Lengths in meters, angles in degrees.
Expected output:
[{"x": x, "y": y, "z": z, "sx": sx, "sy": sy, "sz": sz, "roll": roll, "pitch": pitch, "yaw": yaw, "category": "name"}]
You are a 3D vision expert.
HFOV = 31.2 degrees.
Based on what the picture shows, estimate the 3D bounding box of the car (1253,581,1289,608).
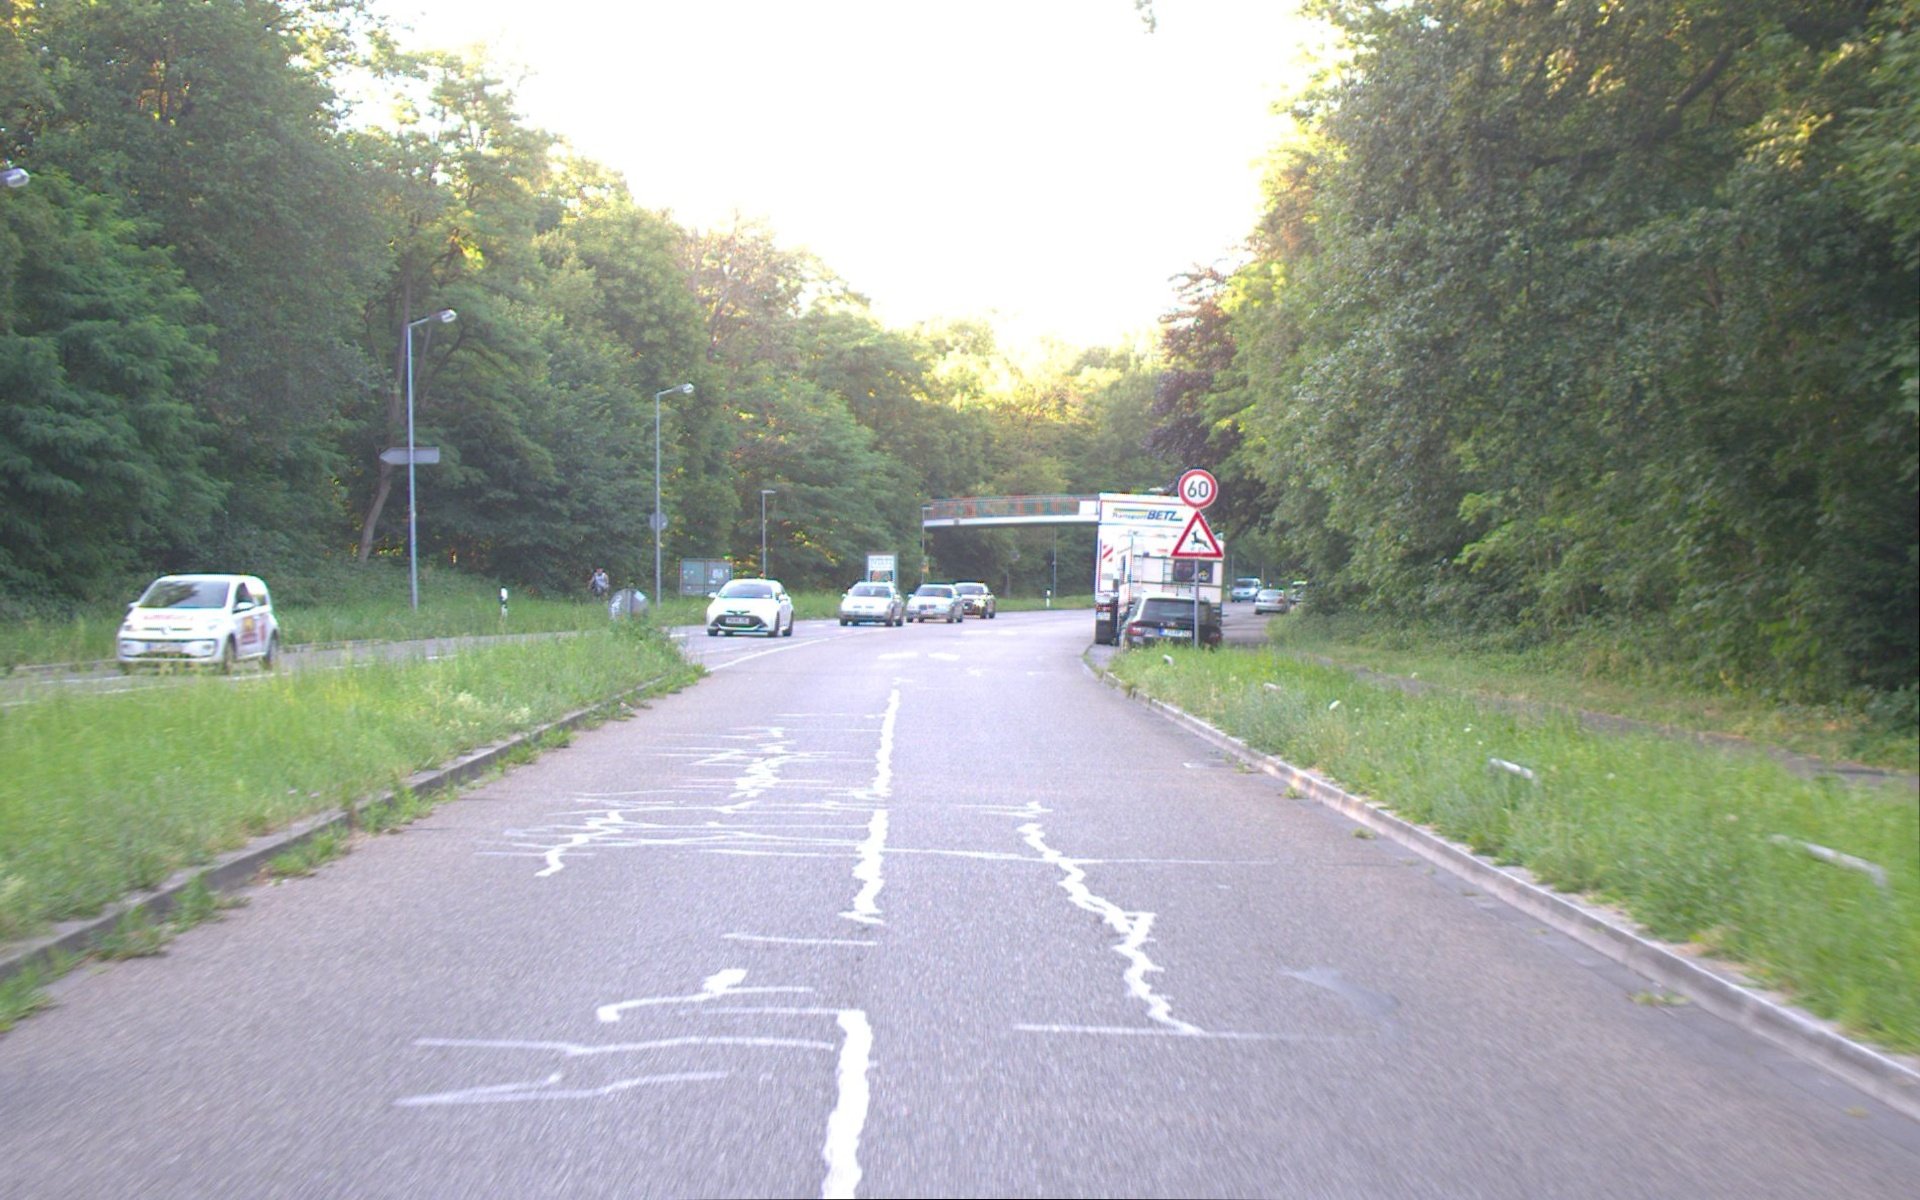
[{"x": 17.011, "y": -0.329, "z": 187.805, "sx": 1.892, "sy": 1.442, "sz": 4.109, "roll": 0, "pitch": 0, "yaw": 6, "category": "car"}]

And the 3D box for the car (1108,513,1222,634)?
[{"x": 5.013, "y": -0.648, "z": 84.906, "sx": 2.408, "sy": 2.848, "sz": 5.932, "roll": 1, "pitch": 0, "yaw": 0, "category": "car"}]

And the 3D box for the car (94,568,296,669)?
[{"x": -11.427, "y": 0.305, "z": 51.596, "sx": 1.994, "sy": 1.453, "sz": 3.810, "roll": 0, "pitch": -1, "yaw": 3, "category": "car"}]

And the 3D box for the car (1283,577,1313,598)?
[{"x": 23.656, "y": -0.893, "z": 240.392, "sx": 1.892, "sy": 1.442, "sz": 4.108, "roll": 0, "pitch": 0, "yaw": 9, "category": "car"}]

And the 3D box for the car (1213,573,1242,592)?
[{"x": 20.298, "y": -1.306, "z": 261.028, "sx": 1.892, "sy": 1.442, "sz": 4.108, "roll": 0, "pitch": 0, "yaw": 9, "category": "car"}]

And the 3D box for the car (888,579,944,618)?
[{"x": -1.606, "y": -0.071, "z": 127.283, "sx": 1.720, "sy": 1.392, "sz": 4.374, "roll": 1, "pitch": 1, "yaw": 4, "category": "car"}]

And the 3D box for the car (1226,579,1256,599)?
[{"x": 20.606, "y": -0.796, "z": 252.040, "sx": 1.892, "sy": 1.442, "sz": 4.108, "roll": 0, "pitch": 0, "yaw": 9, "category": "car"}]

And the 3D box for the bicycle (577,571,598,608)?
[{"x": -12.330, "y": -0.355, "z": 113.786, "sx": 0.630, "sy": 1.213, "sz": 2.262, "roll": 0, "pitch": 1, "yaw": -8, "category": "bicycle"}]

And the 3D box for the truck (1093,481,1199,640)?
[{"x": 5.074, "y": -1.062, "z": 92.978, "sx": 2.658, "sy": 4.014, "sz": 9.721, "roll": 1, "pitch": 1, "yaw": 4, "category": "truck"}]

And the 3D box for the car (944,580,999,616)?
[{"x": 0.513, "y": -0.089, "z": 144.691, "sx": 1.892, "sy": 1.435, "sz": 4.769, "roll": 2, "pitch": 1, "yaw": 5, "category": "car"}]

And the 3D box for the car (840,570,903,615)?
[{"x": -2.911, "y": -0.260, "z": 113.896, "sx": 1.716, "sy": 1.441, "sz": 4.173, "roll": 0, "pitch": 1, "yaw": 3, "category": "car"}]

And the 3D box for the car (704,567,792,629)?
[{"x": -5.388, "y": -0.022, "z": 87.791, "sx": 1.836, "sy": 1.502, "sz": 3.937, "roll": 0, "pitch": -1, "yaw": 3, "category": "car"}]

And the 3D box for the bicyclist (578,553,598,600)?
[{"x": -12.327, "y": -0.779, "z": 113.766, "sx": 0.620, "sy": 1.506, "sz": 0.847, "roll": -1, "pitch": 1, "yaw": -8, "category": "bicyclist"}]

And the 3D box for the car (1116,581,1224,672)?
[{"x": 3.536, "y": 0.423, "z": 58.306, "sx": 1.663, "sy": 1.401, "sz": 3.942, "roll": 3, "pitch": 0, "yaw": 2, "category": "car"}]
